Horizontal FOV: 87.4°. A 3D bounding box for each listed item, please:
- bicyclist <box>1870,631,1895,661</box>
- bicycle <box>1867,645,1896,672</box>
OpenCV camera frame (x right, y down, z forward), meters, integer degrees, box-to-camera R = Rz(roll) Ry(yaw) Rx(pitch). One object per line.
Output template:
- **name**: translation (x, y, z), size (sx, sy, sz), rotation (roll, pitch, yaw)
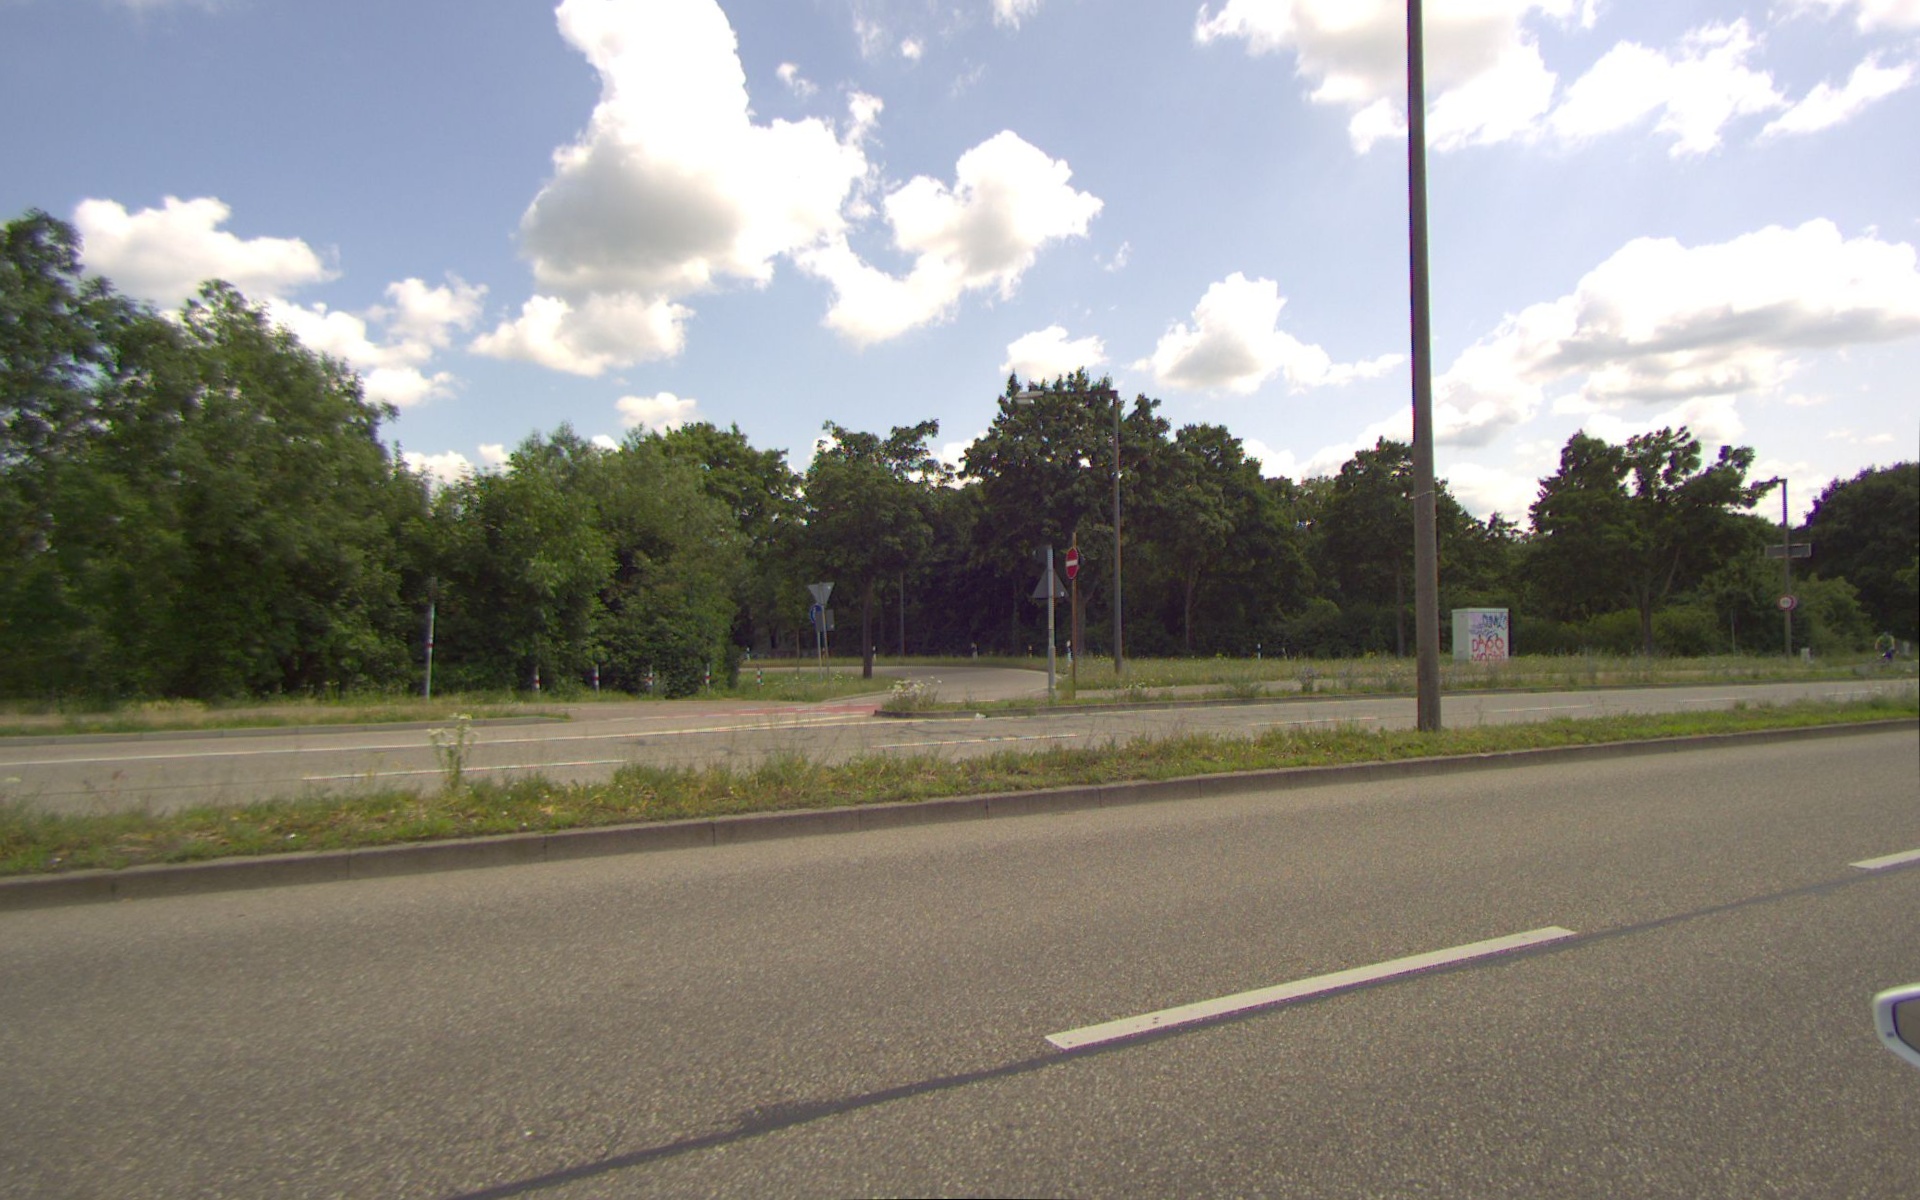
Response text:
- **bicyclist**: translation (40.204, 1.997, 43.765), size (1.094, 1.289, 0.518), rotation (0, 1, -31)
- **bicycle**: translation (40.145, 2.550, 43.743), size (1.886, 1.082, 0.429), rotation (0, 1, -32)
